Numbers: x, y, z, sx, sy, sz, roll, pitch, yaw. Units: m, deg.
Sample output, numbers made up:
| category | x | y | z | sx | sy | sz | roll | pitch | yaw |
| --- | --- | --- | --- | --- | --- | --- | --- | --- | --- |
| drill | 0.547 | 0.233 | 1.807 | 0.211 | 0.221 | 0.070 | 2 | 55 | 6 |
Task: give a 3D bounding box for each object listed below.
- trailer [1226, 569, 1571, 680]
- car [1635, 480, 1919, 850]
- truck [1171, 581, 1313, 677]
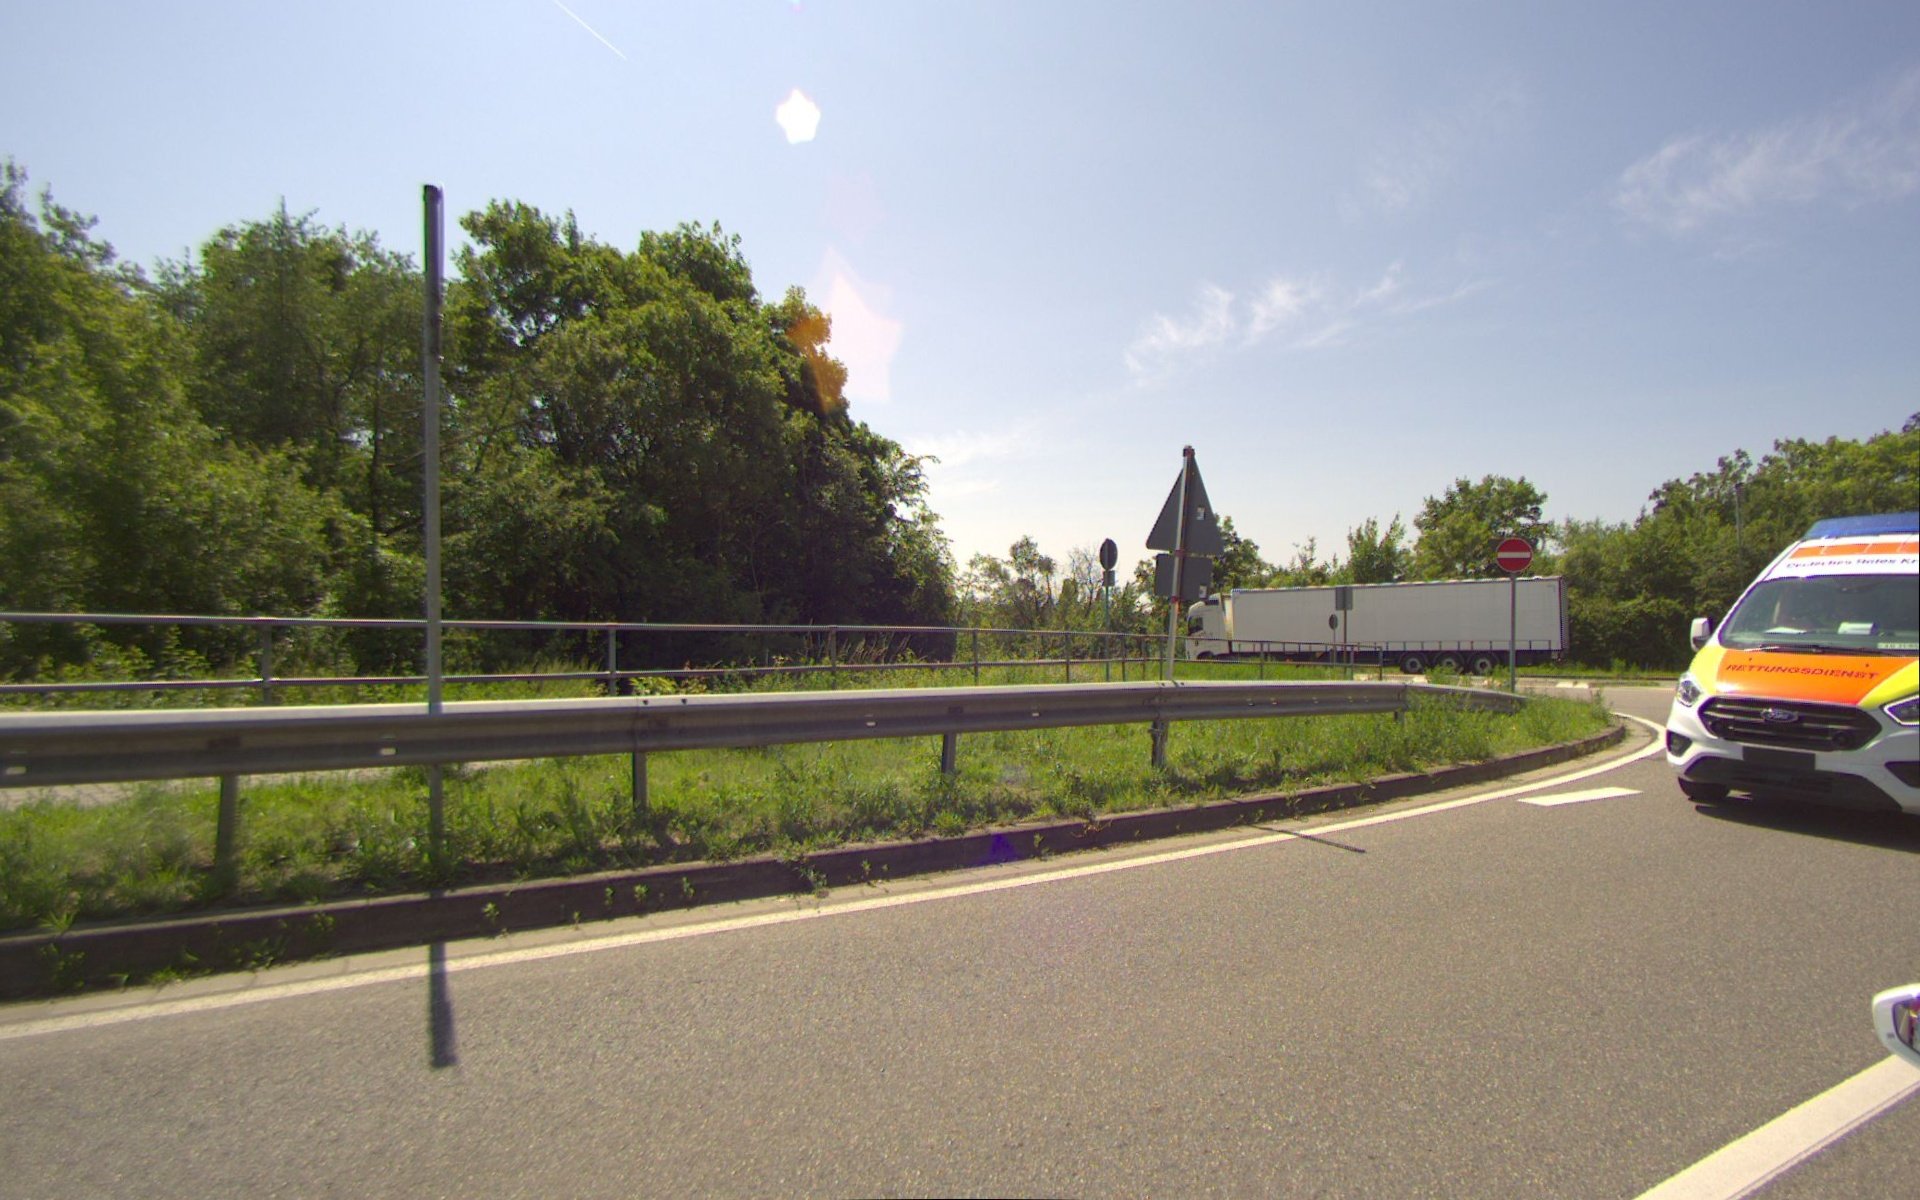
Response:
| category | x | y | z | sx | sy | sz | roll | pitch | yaw |
| --- | --- | --- | --- | --- | --- | --- | --- | --- | --- |
| trailer | 18.863 | 1.194 | 44.295 | 13.565 | 4.332 | 2.989 | -2 | -2 | 35 |
| car | 8.090 | 0.462 | 8.431 | 5.121 | 2.400 | 1.980 | 1 | 0 | -30 |
| truck | 13.480 | 1.397 | 48.280 | 2.979 | 4.332 | 5.850 | 0 | -2 | -45 |
